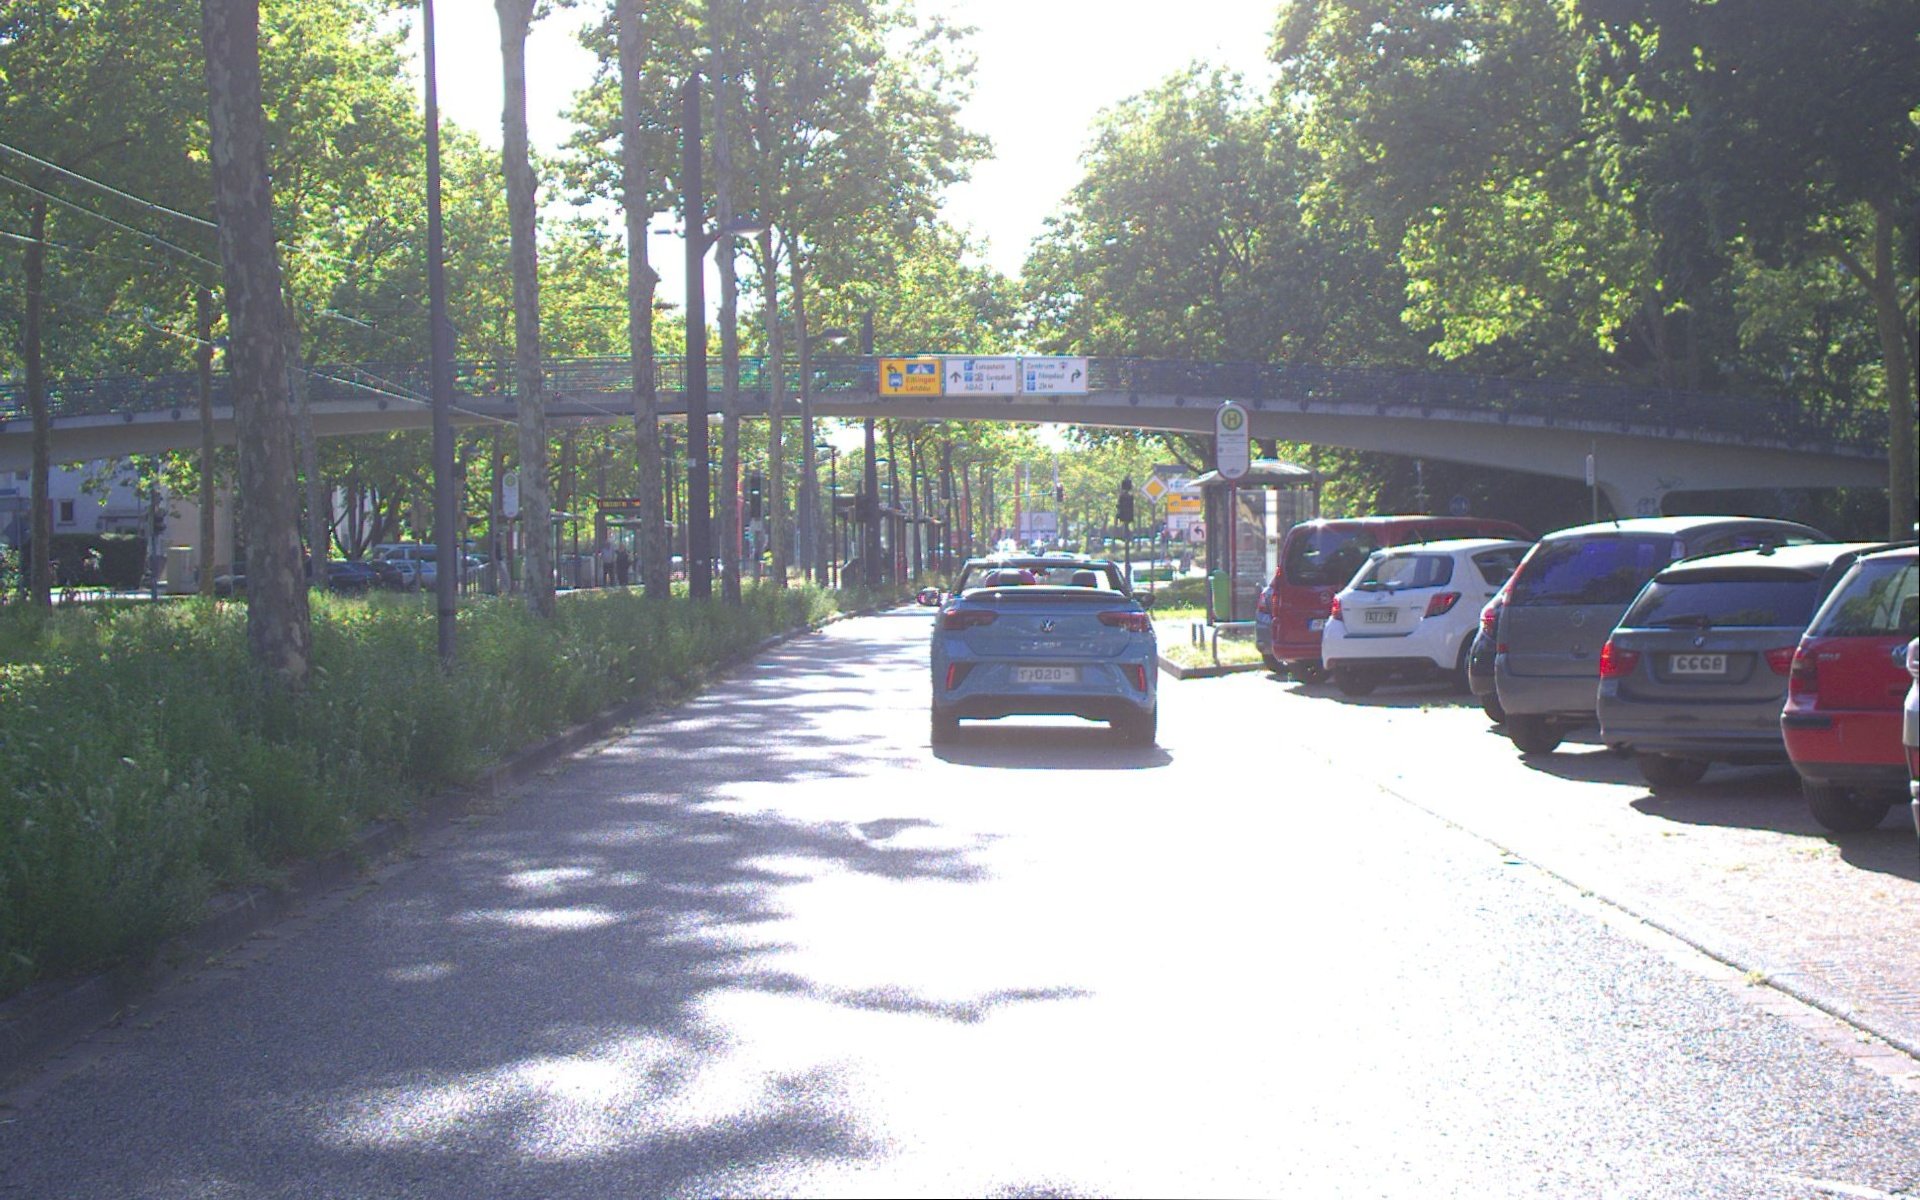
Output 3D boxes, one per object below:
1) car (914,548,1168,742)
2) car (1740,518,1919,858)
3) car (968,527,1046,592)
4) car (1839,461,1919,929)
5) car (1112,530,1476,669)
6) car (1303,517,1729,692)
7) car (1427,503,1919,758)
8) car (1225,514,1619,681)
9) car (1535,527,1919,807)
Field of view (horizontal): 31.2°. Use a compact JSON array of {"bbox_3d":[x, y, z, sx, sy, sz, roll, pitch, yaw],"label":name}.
[{"bbox_3d":[0.620,0.315,28.155,1.922,1.406,4.000,0,2,0],"label":"car"},{"bbox_3d":[6.099,0.394,17.526,4.612,1.564,1.856,-1,2,-43],"label":"car"},{"bbox_3d":[1.230,-1.085,91.298,1.993,1.645,4.000,1,1,0],"label":"car"},{"bbox_3d":[5.534,0.335,13.452,4.612,1.674,1.856,-1,1,-43],"label":"car"},{"bbox_3d":[4.149,-0.039,42.244,4.612,1.608,1.856,-1,1,-43],"label":"car"},{"bbox_3d":[5.730,0.011,35.093,4.612,1.674,1.856,-1,1,-43],"label":"car"},{"bbox_3d":[5.492,0.180,25.045,1.855,1.674,4.600,-2,0,41],"label":"car"},{"bbox_3d":[5.216,-0.058,38.426,4.612,1.762,1.856,-1,1,-43],"label":"car"},{"bbox_3d":[5.690,0.316,21.053,4.612,1.516,1.856,-2,2,-43],"label":"car"}]
